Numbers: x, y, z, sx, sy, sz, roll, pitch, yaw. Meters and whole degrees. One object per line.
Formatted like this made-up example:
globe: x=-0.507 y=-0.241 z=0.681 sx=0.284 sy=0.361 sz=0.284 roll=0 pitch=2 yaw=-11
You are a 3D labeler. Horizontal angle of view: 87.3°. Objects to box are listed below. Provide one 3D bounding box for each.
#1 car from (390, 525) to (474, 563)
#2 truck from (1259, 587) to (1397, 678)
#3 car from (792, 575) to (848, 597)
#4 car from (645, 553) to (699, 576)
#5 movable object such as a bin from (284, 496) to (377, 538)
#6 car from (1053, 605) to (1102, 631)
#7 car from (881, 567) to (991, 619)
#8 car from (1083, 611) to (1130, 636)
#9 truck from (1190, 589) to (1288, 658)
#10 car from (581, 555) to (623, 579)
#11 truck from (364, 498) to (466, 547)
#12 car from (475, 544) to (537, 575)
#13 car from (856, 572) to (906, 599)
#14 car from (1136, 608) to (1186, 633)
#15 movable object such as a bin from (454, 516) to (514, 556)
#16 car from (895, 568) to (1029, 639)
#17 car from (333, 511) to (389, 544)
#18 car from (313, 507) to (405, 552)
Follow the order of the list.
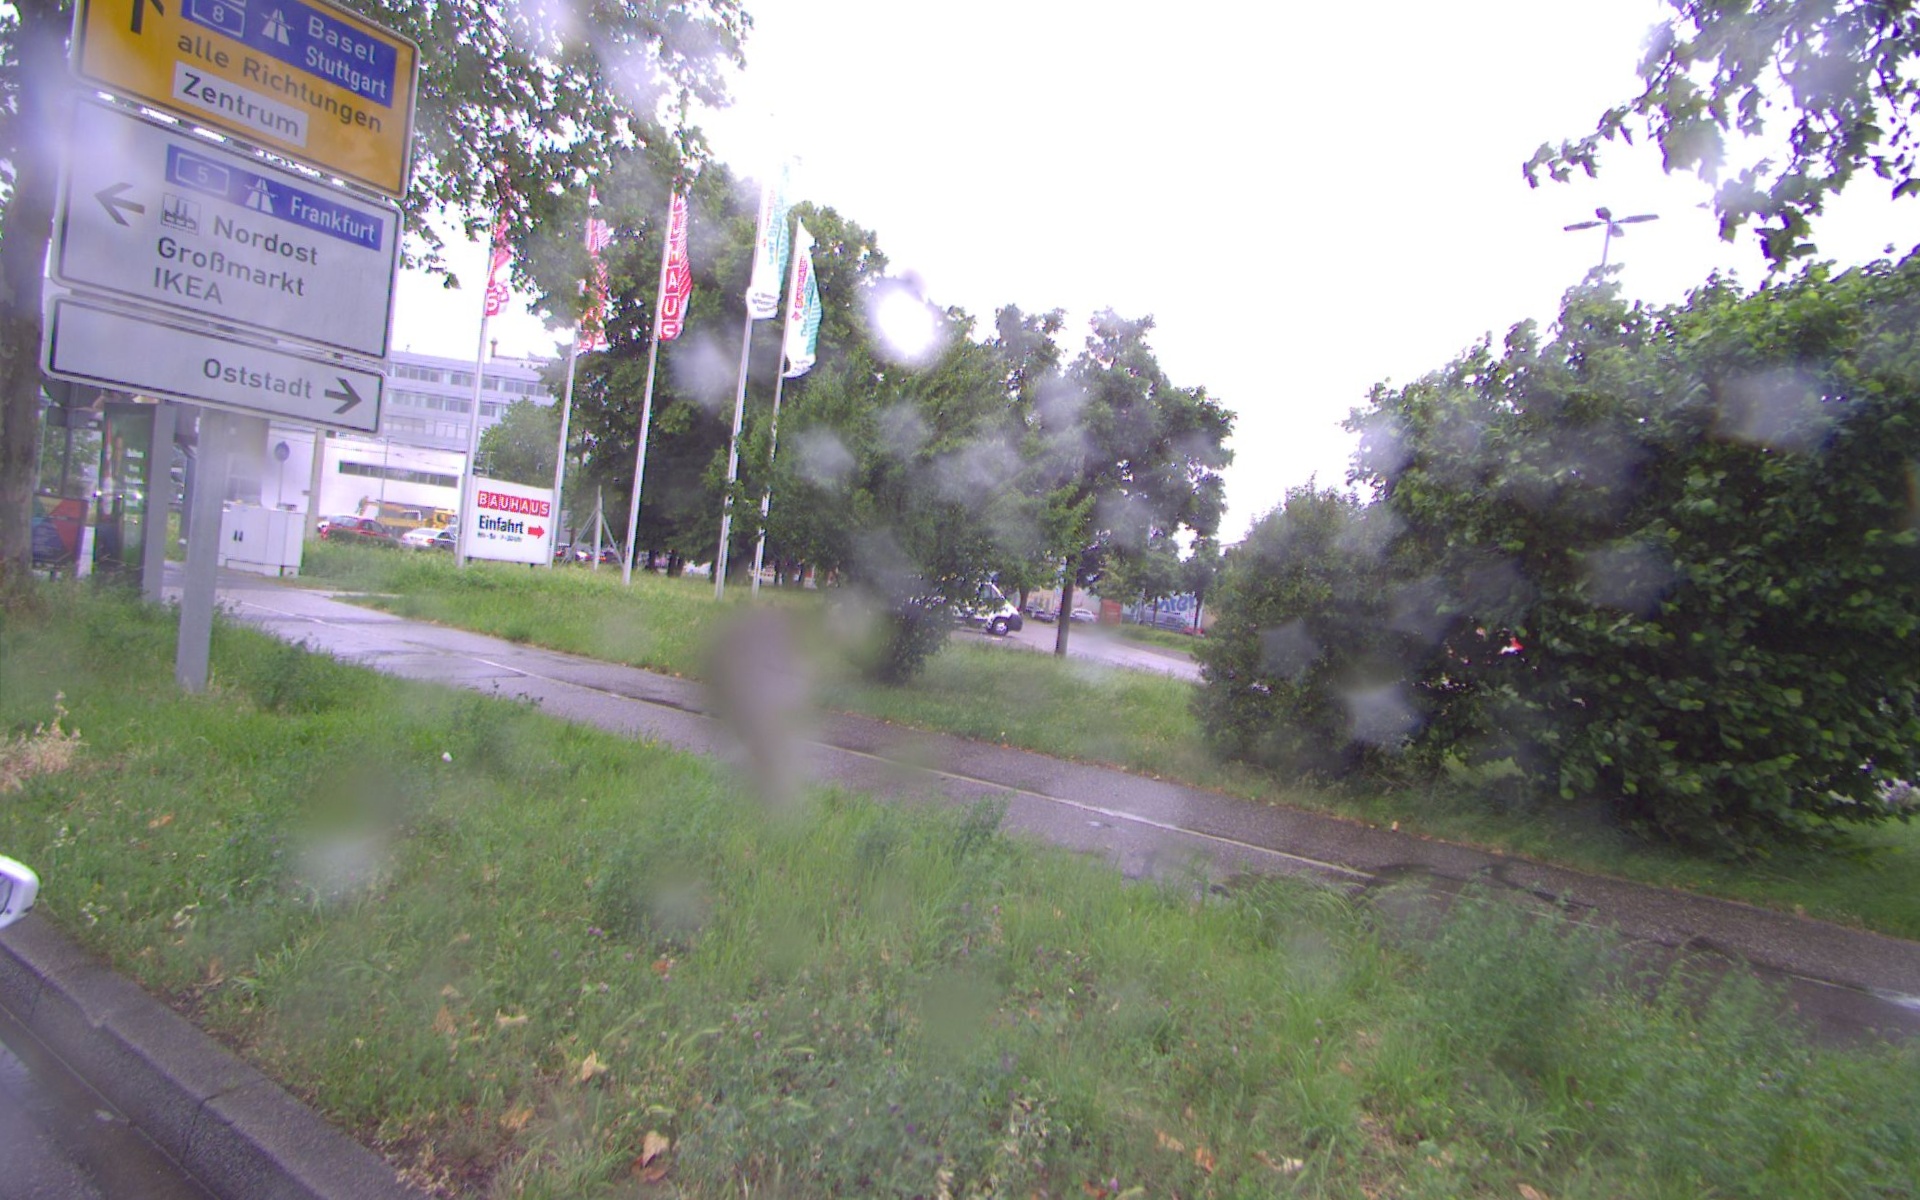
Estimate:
car: x=-27.609 y=-2.880 z=52.804 sx=1.892 sy=1.509 sz=4.828 roll=6 pitch=0 yaw=-2
truck: x=16.704 y=1.330 z=46.409 sx=2.508 sy=3.513 sz=8.008 roll=8 pitch=0 yaw=-4
car: x=-15.415 y=-1.590 z=111.074 sx=5.853 sy=1.754 sz=2.276 roll=6 pitch=1 yaw=-3
car: x=-28.137 y=-3.471 z=98.422 sx=4.593 sy=1.606 sz=1.905 roll=7 pitch=0 yaw=-42
movable object such as a bin: x=-60.589 y=-7.925 z=97.016 sx=6.601 sy=3.034 sz=3.324 roll=7 pitch=1 yaw=-4
car: x=11.851 y=1.835 z=101.823 sx=4.612 sy=2.038 sz=2.001 roll=7 pitch=0 yaw=3
car: x=-1.390 y=-0.413 z=57.648 sx=5.955 sy=2.232 sz=2.190 roll=7 pitch=1 yaw=-2
car: x=15.577 y=2.536 z=107.124 sx=4.612 sy=2.038 sz=2.001 roll=7 pitch=0 yaw=3
truck: x=16.520 y=1.326 z=60.359 sx=2.507 sy=3.511 sz=9.397 roll=8 pitch=0 yaw=-2
car: x=-28.843 y=-2.622 z=81.154 sx=1.892 sy=1.606 sz=4.623 roll=6 pitch=0 yaw=-4
truck: x=-52.674 y=-7.441 z=97.340 sx=7.747 sy=3.552 sz=3.325 roll=7 pitch=1 yaw=-4
car: x=-28.634 y=-2.526 z=63.650 sx=1.892 sy=1.606 sz=4.622 roll=6 pitch=0 yaw=-3
car: x=-7.856 y=-1.452 z=100.597 sx=4.670 sy=2.241 sz=1.964 roll=6 pitch=1 yaw=-2
car: x=20.852 y=2.079 z=104.716 sx=4.613 sy=2.039 sz=1.999 roll=7 pitch=1 yaw=1
movable object such as a bin: x=-50.181 y=-6.724 z=106.158 sx=3.268 sy=3.552 sz=6.316 roll=6 pitch=1 yaw=-3
car: x=0.026 y=0.141 z=40.924 sx=5.015 sy=2.232 sz=2.188 roll=7 pitch=1 yaw=-9
car: x=-45.346 y=-5.486 z=76.302 sx=1.965 sy=2.039 sz=3.995 roll=7 pitch=0 yaw=-6
car: x=-26.968 y=-3.120 z=45.286 sx=1.647 sy=1.508 sz=3.817 roll=7 pitch=-1 yaw=1
